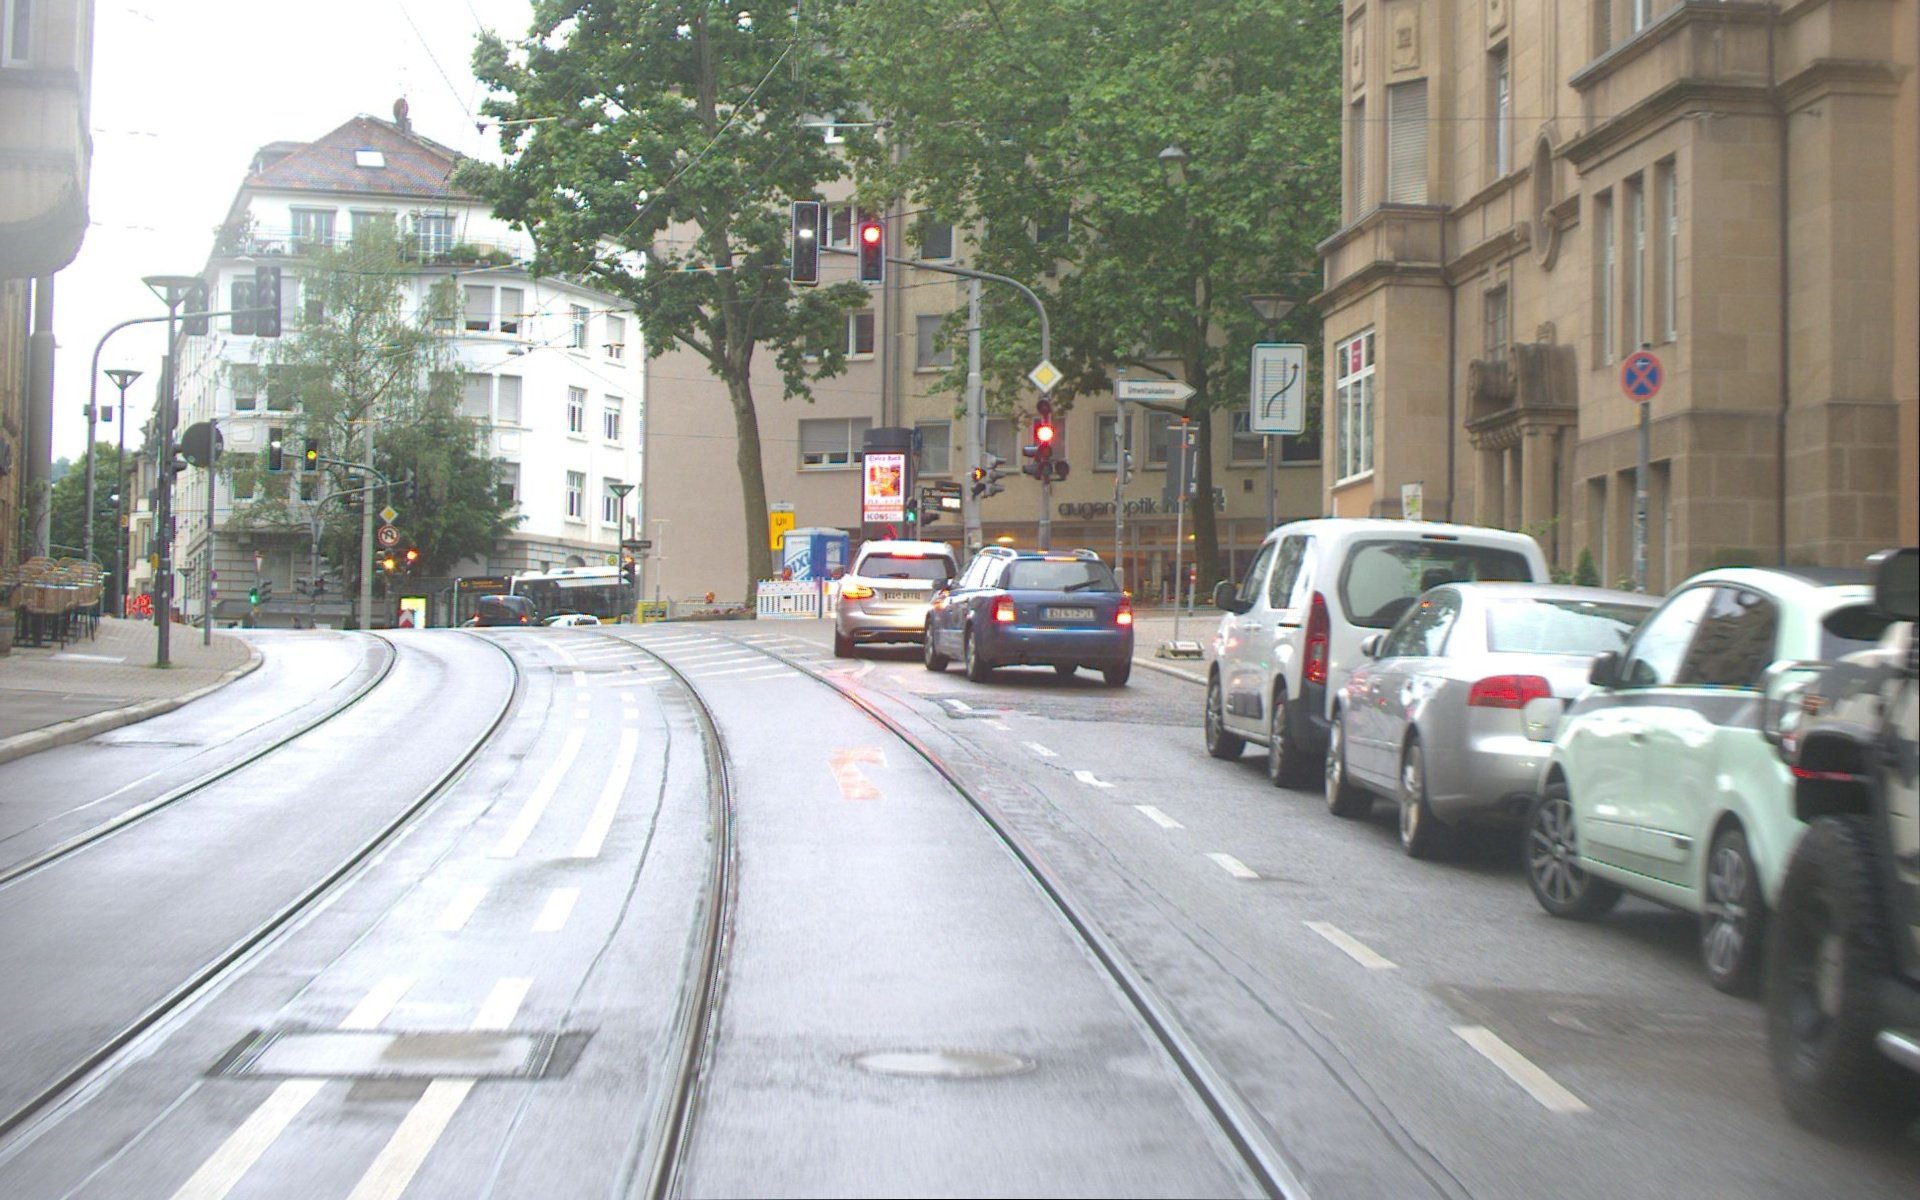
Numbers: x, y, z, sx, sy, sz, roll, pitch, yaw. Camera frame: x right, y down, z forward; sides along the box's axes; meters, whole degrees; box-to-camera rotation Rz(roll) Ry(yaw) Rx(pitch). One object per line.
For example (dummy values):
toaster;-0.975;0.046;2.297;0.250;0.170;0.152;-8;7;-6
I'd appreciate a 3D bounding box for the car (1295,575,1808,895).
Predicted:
car;3.053;0.633;18.700;1.748;1.396;4.479;3;1;-3

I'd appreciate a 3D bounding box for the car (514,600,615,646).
car;-13.944;0.805;121.400;1.796;1.505;3.995;1;1;23

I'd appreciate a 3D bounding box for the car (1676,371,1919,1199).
car;3.409;0.520;7.556;2.128;2.007;5.351;3;1;-4

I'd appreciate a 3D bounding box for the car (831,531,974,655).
car;-0.768;-0.119;43.897;1.710;1.451;3.553;2;1;-2

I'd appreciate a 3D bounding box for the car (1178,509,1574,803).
car;2.767;0.311;23.896;1.797;1.759;4.464;3;1;-4

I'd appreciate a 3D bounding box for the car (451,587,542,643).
car;-13.514;0.430;100.397;1.794;1.505;4.000;-2;1;4

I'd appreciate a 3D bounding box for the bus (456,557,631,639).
bus;-15.342;-0.123;127.370;2.857;2.851;8.725;1;1;20

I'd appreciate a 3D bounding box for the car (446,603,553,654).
car;-15.574;0.938;116.381;1.796;1.609;3.995;1;1;23

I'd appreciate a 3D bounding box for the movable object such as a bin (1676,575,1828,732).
movable object such as a bin;7.774;0.516;33.784;0.971;1.427;1.280;5;-1;-6

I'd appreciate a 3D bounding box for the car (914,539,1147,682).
car;0.721;0.077;38.053;1.710;1.410;4.038;2;1;-11

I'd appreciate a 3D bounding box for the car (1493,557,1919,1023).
car;3.340;0.656;13.585;1.560;1.541;3.585;3;1;-5
